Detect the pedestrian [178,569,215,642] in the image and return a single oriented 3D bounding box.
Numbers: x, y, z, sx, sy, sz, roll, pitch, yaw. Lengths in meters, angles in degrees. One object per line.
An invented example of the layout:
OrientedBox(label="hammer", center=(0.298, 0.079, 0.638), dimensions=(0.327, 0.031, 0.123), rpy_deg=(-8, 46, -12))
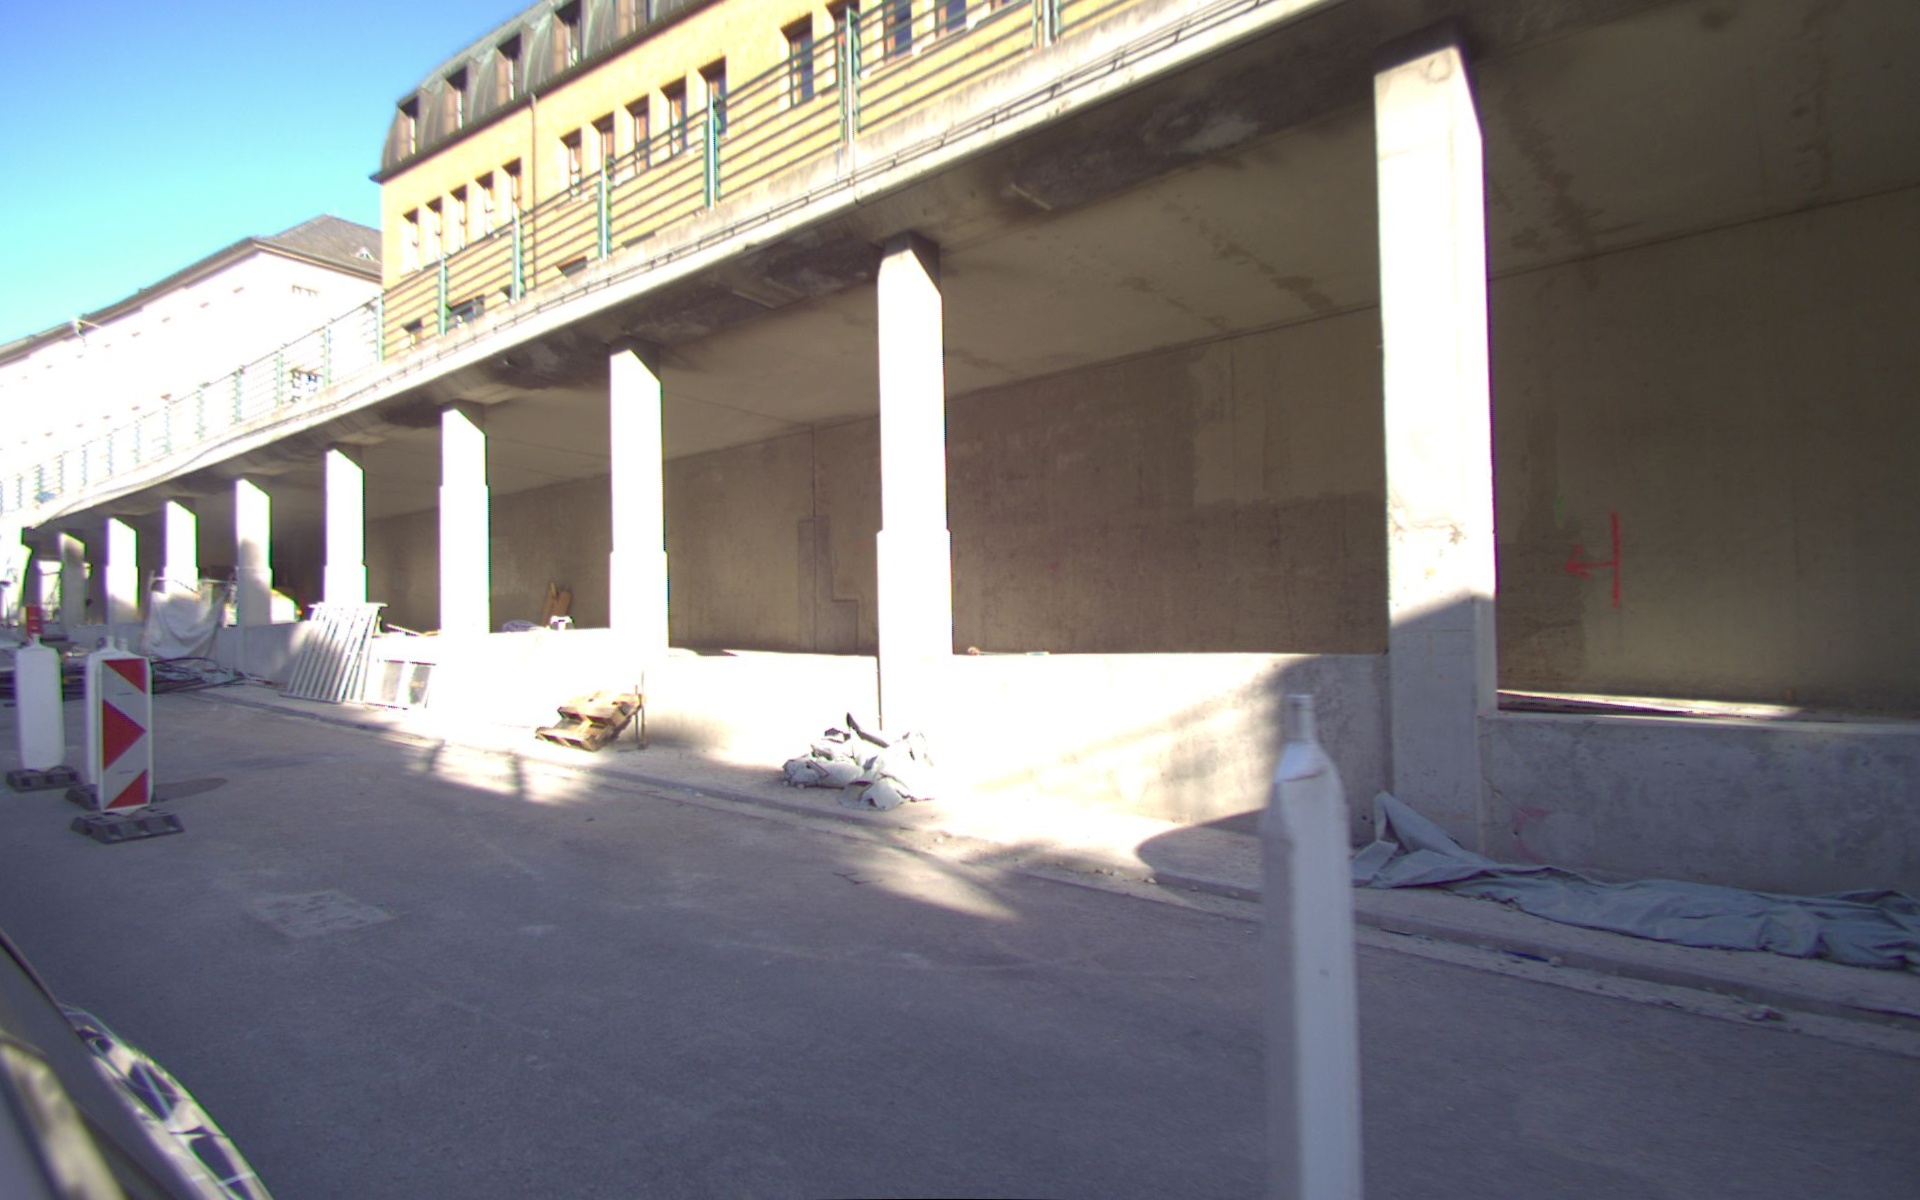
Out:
OrientedBox(label="pedestrian", center=(-19.502, 0.132, 25.857), dimensions=(0.625, 1.818, 0.649), rpy_deg=(1, 1, 43))

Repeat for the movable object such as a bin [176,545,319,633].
OrientedBox(label="movable object such as a bin", center=(-17.434, -0.248, 24.740), dimensions=(3.150, 2.002, 1.870), rpy_deg=(0, 0, 34))

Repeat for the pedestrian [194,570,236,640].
OrientedBox(label="pedestrian", center=(-19.831, 0.117, 26.939), dimensions=(0.708, 1.828, 0.698), rpy_deg=(0, 1, 33))

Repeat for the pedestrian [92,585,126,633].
OrientedBox(label="pedestrian", center=(-28.384, 0.293, 33.759), dimensions=(0.627, 1.591, 0.645), rpy_deg=(1, -1, 26))

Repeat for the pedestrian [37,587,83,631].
OrientedBox(label="pedestrian", center=(-29.399, 0.299, 33.059), dimensions=(0.779, 1.409, 0.866), rpy_deg=(1, -1, 26))
